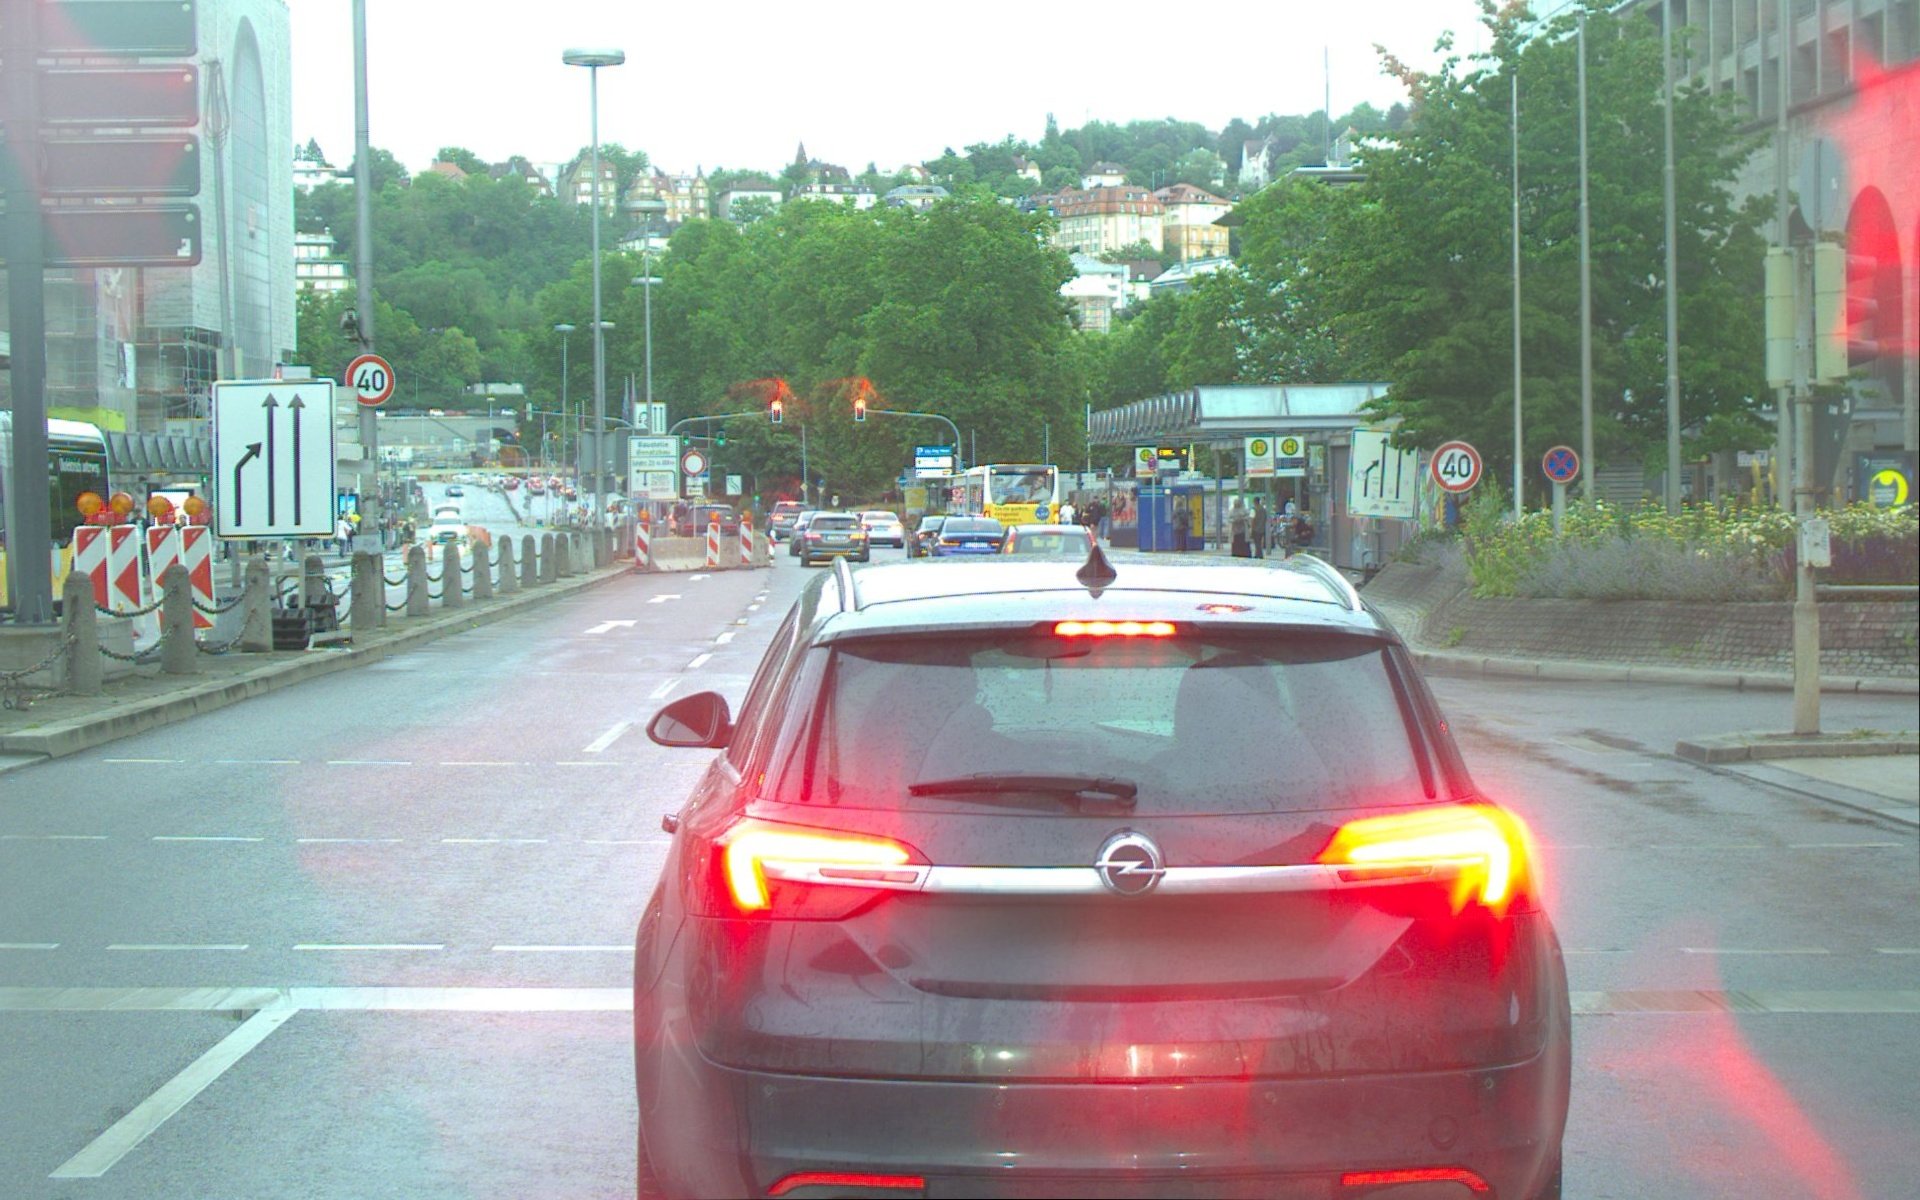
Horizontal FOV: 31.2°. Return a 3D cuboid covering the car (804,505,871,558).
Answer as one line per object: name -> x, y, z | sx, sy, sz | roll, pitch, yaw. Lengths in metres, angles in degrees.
car -> -3.318, -1.842, 93.227 | 1.753, 1.393, 4.538 | 1, 1, -2

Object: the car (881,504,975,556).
car -> -0.929, -1.934, 96.045 | 1.752, 1.393, 4.403 | 1, 1, -12

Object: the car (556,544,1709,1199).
car -> 0.243, 0.636, 7.634 | 1.874, 1.481, 4.000 | 1, 1, -1

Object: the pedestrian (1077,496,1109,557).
pedestrian -> 5.326, -2.935, 137.442 | 1.199, 2.427, 1.228 | 1, 1, 1

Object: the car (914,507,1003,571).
car -> -0.064, -1.388, 78.657 | 1.753, 1.393, 4.649 | 1, 1, -3

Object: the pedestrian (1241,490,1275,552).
pedestrian -> 8.147, -2.158, 94.082 | 0.763, 1.684, 0.825 | 1, 1, -5

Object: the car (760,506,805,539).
car -> -7.732, -3.380, 149.911 | 1.759, 1.393, 3.564 | 1, 1, -1

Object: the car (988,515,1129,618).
car -> 1.362, -0.483, 49.053 | 1.845, 1.393, 3.667 | 1, 1, -1

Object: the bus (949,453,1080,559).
bus -> 1.786, -3.202, 120.862 | 4.173, 3.457, 14.655 | 1, 1, -1

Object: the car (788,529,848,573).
car -> -4.626, -1.590, 112.359 | 1.845, 1.393, 3.564 | 1, 1, -1

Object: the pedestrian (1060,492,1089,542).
pedestrian -> 5.042, -3.642, 151.124 | 1.199, 2.141, 1.228 | 1, 1, 1

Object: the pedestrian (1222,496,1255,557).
pedestrian -> 7.711, -2.030, 95.350 | 0.763, 1.684, 0.825 | 1, 1, -5

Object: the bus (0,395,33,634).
bus -> -15.727, -1.260, 48.338 | 2.668, 3.589, 10.240 | 1, 1, -1

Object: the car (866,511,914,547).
car -> -2.761, -2.800, 136.032 | 1.845, 1.393, 3.564 | 1, 1, -1

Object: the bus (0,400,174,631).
bus -> -15.854, -1.396, 58.523 | 2.668, 3.589, 10.212 | 1, 1, -1
